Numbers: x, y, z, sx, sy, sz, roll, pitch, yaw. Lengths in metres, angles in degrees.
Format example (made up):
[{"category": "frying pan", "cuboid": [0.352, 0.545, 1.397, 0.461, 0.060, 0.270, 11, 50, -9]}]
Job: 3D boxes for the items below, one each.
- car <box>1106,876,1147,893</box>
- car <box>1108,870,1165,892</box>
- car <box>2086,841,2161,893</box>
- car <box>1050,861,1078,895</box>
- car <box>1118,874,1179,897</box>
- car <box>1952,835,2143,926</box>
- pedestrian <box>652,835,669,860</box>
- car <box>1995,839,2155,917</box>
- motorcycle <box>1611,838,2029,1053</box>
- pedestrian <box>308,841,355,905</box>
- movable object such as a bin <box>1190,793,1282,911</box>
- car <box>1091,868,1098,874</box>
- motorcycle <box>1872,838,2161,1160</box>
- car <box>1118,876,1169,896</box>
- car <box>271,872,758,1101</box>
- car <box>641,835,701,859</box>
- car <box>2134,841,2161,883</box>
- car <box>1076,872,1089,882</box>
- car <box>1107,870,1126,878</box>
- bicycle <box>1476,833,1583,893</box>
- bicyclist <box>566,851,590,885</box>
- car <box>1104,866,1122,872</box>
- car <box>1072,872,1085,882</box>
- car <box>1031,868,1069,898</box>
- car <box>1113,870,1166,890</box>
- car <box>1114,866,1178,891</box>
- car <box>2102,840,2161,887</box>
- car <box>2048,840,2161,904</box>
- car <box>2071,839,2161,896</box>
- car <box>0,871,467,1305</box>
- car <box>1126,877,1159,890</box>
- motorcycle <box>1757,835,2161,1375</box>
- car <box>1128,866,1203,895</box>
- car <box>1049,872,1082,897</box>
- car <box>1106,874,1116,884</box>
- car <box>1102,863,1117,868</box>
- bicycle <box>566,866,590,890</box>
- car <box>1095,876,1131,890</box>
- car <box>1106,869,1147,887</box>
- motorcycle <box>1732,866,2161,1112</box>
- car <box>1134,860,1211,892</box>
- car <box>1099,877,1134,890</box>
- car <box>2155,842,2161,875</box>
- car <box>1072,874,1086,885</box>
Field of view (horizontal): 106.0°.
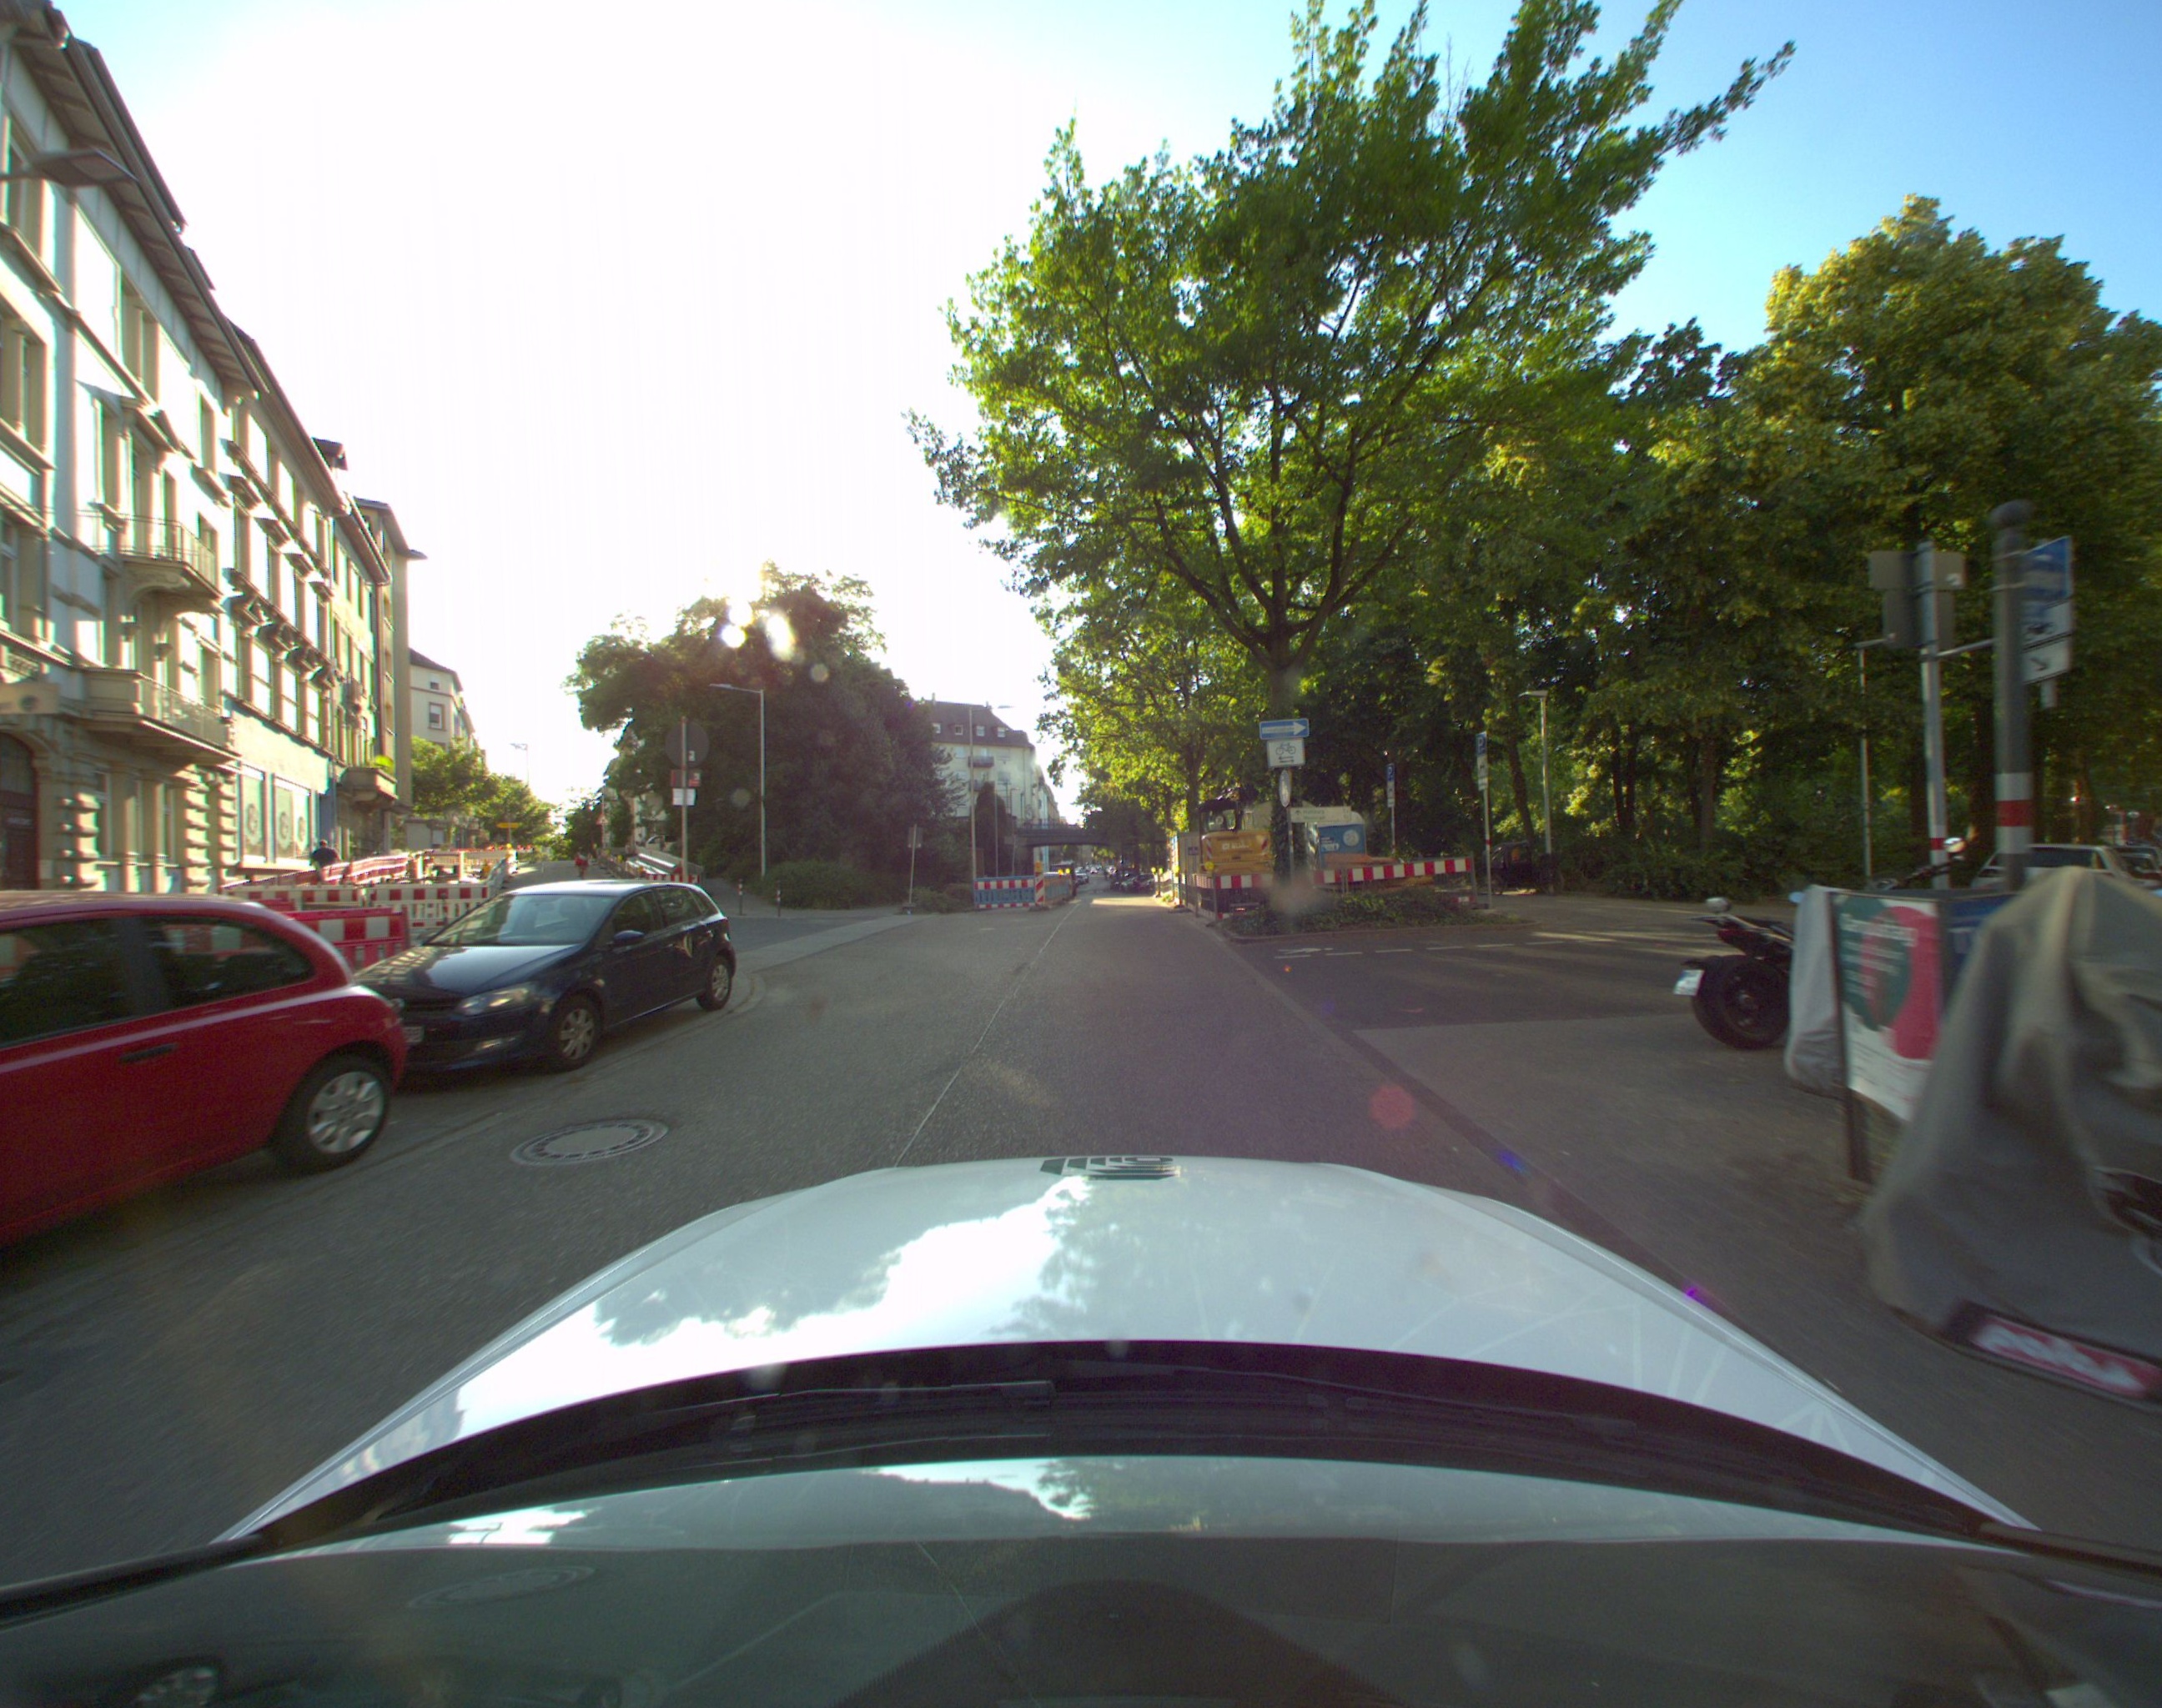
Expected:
[{"category": "car", "cuboid": [4.932, 3.330, 88.326, 4.374, 1.785, 1.915, 0, -3, -1]}, {"category": "car", "cuboid": [4.398, 2.153, 64.822, 4.374, 1.702, 1.915, 0, -3, -1]}, {"category": "car", "cuboid": [35.209, 0.463, 27.136, 4.016, 1.586, 1.862, 2, 1, -35]}, {"category": "car", "cuboid": [-1.282, 1.870, 63.110, 2.041, 2.498, 5.694, 0, -3, -1]}, {"category": "car", "cuboid": [5.036, 2.378, 60.955, 4.374, 1.702, 1.915, 0, -3, -1]}, {"category": "car", "cuboid": [17.715, 0.468, 14.889, 4.016, 1.412, 1.862, 2, 1, -35]}, {"category": "pedestrian", "cuboid": [-29.191, -0.451, 56.531, 0.863, 1.763, 1.080, -1, 0, -36]}, {"category": "car", "cuboid": [21.591, 0.509, 17.658, 4.016, 1.463, 1.862, 2, 1, -35]}, {"category": "motorcycle", "cuboid": [5.302, 0.594, 5.926, 2.363, 1.341, 0.938, -2, -1, -8]}, {"category": "pedestrian", "cuboid": [-24.463, 0.616, 26.599, 0.946, 2.013, 0.949, -1, 0, -32]}, {"category": "movable object such as a bin", "cuboid": [4.005, -0.034, 20.641, 1.979, 2.699, 3.123, -2, -1, 15]}, {"category": "car", "cuboid": [3.612, 4.670, 224.517, 1.806, 1.398, 3.975, -3, -3, 1]}, {"category": "motorcycle", "cuboid": [5.125, 0.594, 3.619, 2.267, 1.341, 0.658, -2, -1, 13]}, {"category": "car", "cuboid": [5.497, 2.890, 72.450, 4.374, 1.702, 1.915, 0, -3, -1]}, {"category": "car", "cuboid": [-4.732, 0.966, 7.651, 1.663, 1.458, 4.001, -2, 0, 1]}, {"category": "car", "cuboid": [-34.939, -0.616, 69.498, 4.384, 2.013, 1.921, -1, 0, -21]}, {"category": "car", "cuboid": [44.073, 0.384, 32.765, 4.016, 1.586, 1.862, 2, 1, -35]}, {"category": "car", "cuboid": [0.253, 3.745, 130.108, 1.806, 1.398, 3.975, -3, -3, 1]}, {"category": "car", "cuboid": [8.368, 4.745, 192.017, 4.371, 1.610, 1.781, -1, -3, 1]}, {"category": "bicycle", "cuboid": [10.445, 0.197, 19.072, 1.024, 1.285, 2.139, -3, 0, -10]}, {"category": "bicyclist", "cuboid": [-21.170, 0.577, 34.257, 0.809, 1.383, 0.975, -1, 0, -34]}, {"category": "car", "cuboid": [8.001, 3.774, 204.454, 4.371, 1.610, 1.781, -1, -3, 1]}, {"category": "car", "cuboid": [-0.379, 3.533, 125.301, 1.806, 1.398, 3.975, -3, -3, 1]}, {"category": "car", "cuboid": [-1.616, 1.557, 43.474, 1.709, 1.418, 4.106, -3, -3, 1]}, {"category": "car", "cuboid": [4.962, 2.240, 69.808, 4.374, 1.702, 1.915, 0, -3, -1]}, {"category": "car", "cuboid": [4.629, 1.794, 58.505, 4.374, 1.702, 1.915, 0, -3, -1]}, {"category": "car", "cuboid": [39.172, 0.377, 29.855, 4.016, 1.586, 1.862, 2, 1, -35]}, {"category": "car", "cuboid": [26.739, 0.471, 21.041, 4.016, 1.463, 1.862, 2, 1, -35]}, {"category": "car", "cuboid": [31.749, 0.440, 24.689, 4.016, 1.586, 1.862, 2, 1, -35]}, {"category": "car", "cuboid": [-4.768, 0.890, 3.197, 1.664, 1.530, 3.999, -2, 0, 0]}, {"category": "car", "cuboid": [8.456, 4.076, 112.166, 4.371, 1.610, 1.781, -1, -3, 1]}, {"category": "motorcycle", "cuboid": [3.343, 0.650, 2.397, 1.913, 1.412, 0.947, -2, 0, 29]}, {"category": "car", "cuboid": [5.094, 1.612, 49.573, 4.374, 1.702, 1.915, 0, -3, -1]}, {"category": "car", "cuboid": [-0.900, 1.831, 49.296, 1.806, 1.440, 4.350, 0, -1, 1]}, {"category": "car", "cuboid": [5.291, 4.478, 145.349, 1.768, 1.610, 4.403, -1, -2, 2]}, {"category": "car", "cuboid": [8.403, 3.453, 243.043, 4.371, 1.610, 1.781, -1, -3, 1]}, {"category": "bicycle", "cuboid": [-21.118, 0.979, 34.181, 0.809, 0.968, 2.086, -1, 0, -34]}, {"category": "car", "cuboid": [3.864, 3.552, 99.000, 4.374, 1.610, 1.779, 0, -3, -1]}, {"category": "car", "cuboid": [5.049, 2.685, 90.263, 4.374, 1.862, 1.915, 0, -3, -1]}, {"category": "motorcycle", "cuboid": [5.234, 0.693, 4.553, 2.266, 1.180, 0.975, -2, -1, 14]}, {"category": "car", "cuboid": [5.861, 1.445, 52.570, 4.729, 1.997, 1.915, 0, -3, -2]}, {"category": "car", "cuboid": [4.494, 3.807, 104.466, 4.374, 1.610, 1.779, 0, -3, -1]}, {"category": "car", "cuboid": [55.435, 0.304, 40.754, 4.016, 1.586, 1.862, 2, 1, -35]}, {"category": "car", "cuboid": [-0.287, 3.778, 120.452, 1.806, 1.398, 3.975, -3, -3, 1]}]
